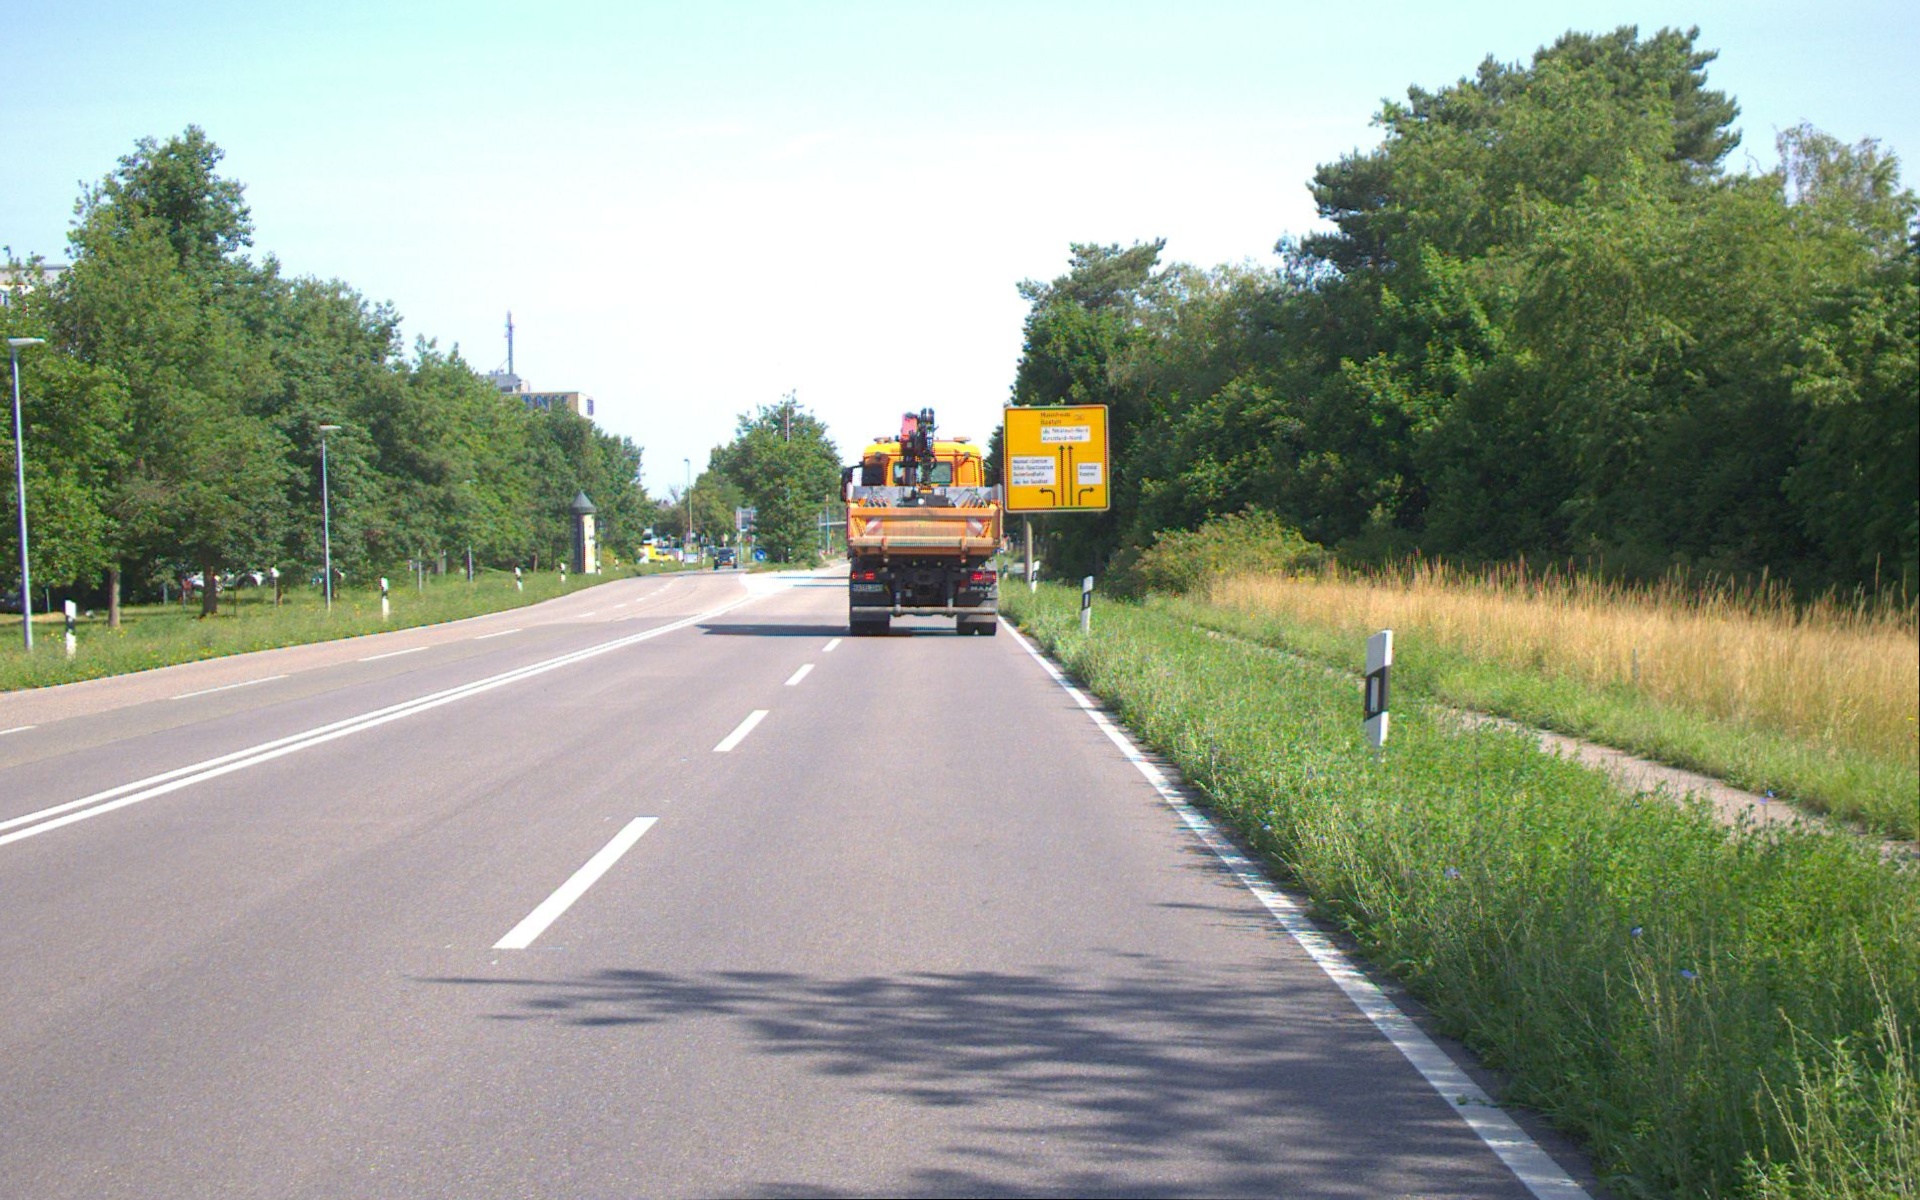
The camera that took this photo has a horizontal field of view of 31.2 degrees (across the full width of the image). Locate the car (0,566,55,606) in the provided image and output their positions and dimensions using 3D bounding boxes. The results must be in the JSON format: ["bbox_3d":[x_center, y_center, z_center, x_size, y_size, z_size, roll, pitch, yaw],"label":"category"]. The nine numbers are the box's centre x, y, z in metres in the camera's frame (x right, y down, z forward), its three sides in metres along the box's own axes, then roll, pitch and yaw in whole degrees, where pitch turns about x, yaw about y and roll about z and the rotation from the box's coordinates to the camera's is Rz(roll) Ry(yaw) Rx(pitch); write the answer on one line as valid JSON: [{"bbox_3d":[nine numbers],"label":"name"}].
[{"bbox_3d":[-36.747,-0.547,133.595,1.993,1.432,4.610,-1,1,-1],"label":"car"}]

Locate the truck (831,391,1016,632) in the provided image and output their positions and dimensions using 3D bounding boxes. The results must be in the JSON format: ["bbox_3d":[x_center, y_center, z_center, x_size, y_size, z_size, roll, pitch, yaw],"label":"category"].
[{"bbox_3d":[-0.727,-1.498,59.489,2.871,3.867,7.401,1,1,-3],"label":"truck"}]

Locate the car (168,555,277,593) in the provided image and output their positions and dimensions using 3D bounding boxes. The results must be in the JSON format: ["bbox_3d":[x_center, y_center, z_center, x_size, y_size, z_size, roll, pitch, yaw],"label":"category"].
[{"bbox_3d":[-34.264,-1.232,159.741,4.594,1.645,2.000,-1,1,-1],"label":"car"}]
